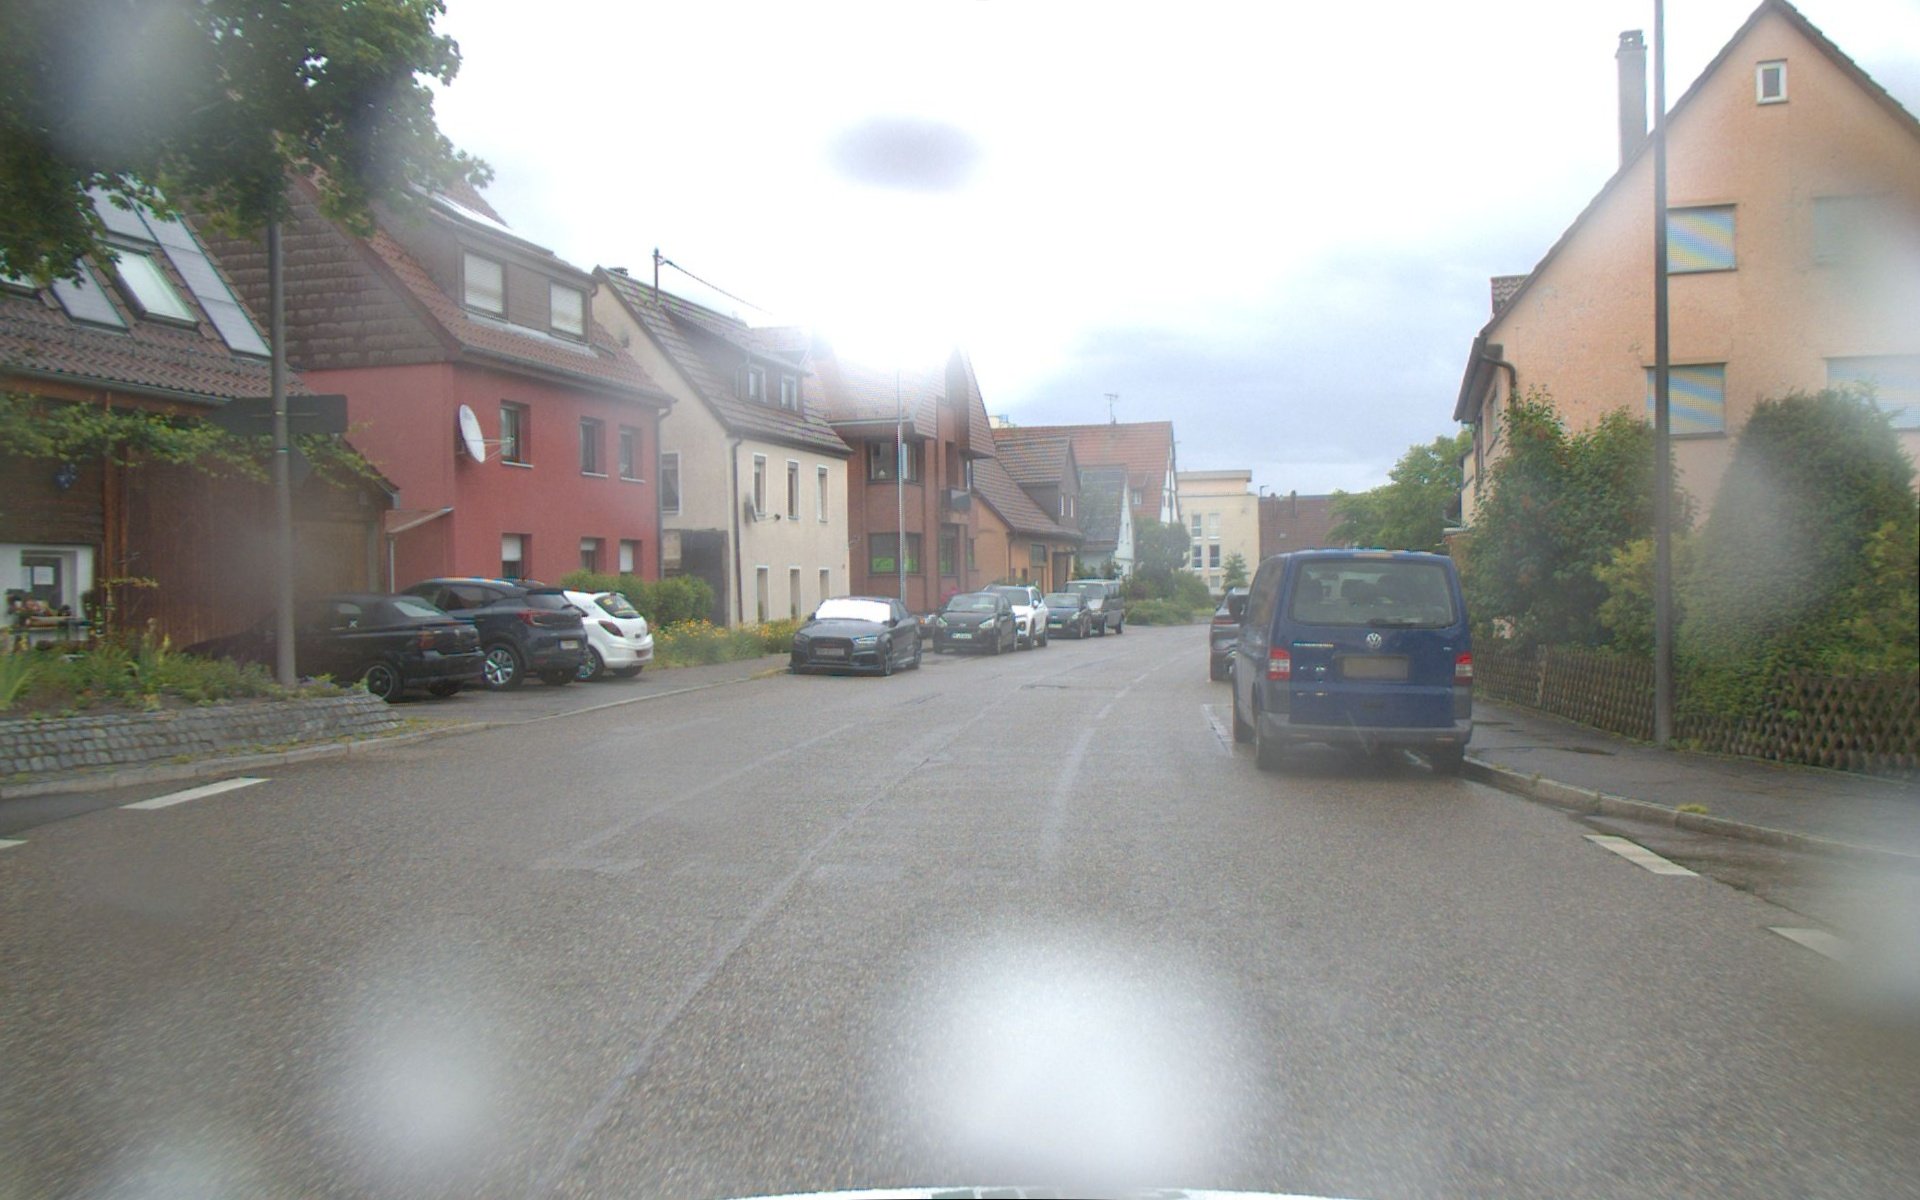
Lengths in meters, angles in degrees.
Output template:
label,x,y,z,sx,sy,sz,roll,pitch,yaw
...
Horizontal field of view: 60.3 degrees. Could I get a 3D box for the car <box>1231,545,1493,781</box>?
label,x,y,z,sx,sy,sz,roll,pitch,yaw
car,3.746,0.532,16.224,1.889,1.936,4.797,1,0,6

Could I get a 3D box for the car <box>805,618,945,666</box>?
label,x,y,z,sx,sy,sz,roll,pitch,yaw
car,-2.724,1.344,53.039,4.085,1.427,1.789,-1,-1,19

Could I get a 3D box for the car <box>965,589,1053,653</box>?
label,x,y,z,sx,sy,sz,roll,pitch,yaw
car,1.413,0.573,45.696,1.726,1.647,4.660,-1,-1,10

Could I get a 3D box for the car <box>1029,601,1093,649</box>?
label,x,y,z,sx,sy,sz,roll,pitch,yaw
car,3.396,0.820,55.080,1.544,1.523,3.570,-1,-1,13

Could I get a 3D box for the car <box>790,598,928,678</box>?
label,x,y,z,sx,sy,sz,roll,pitch,yaw
car,-1.829,0.674,31.234,1.592,1.379,4.114,1,0,11

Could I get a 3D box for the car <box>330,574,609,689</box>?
label,x,y,z,sx,sy,sz,roll,pitch,yaw
car,-7.273,0.443,24.628,3.500,1.532,1.856,2,0,16

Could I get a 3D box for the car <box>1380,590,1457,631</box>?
label,x,y,z,sx,sy,sz,roll,pitch,yaw
car,19.175,0.418,69.056,1.729,1.417,3.987,-8,-3,35

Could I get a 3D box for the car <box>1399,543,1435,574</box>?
label,x,y,z,sx,sy,sz,roll,pitch,yaw
car,23.012,-2.071,83.230,1.603,1.455,3.679,-1,-1,18

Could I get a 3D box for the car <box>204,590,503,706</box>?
label,x,y,z,sx,sy,sz,roll,pitch,yaw
car,-7.993,0.635,21.887,3.372,1.443,1.634,-1,-1,14

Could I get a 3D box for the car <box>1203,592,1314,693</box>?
label,x,y,z,sx,sy,sz,roll,pitch,yaw
car,5.792,0.760,31.680,1.868,1.747,4.559,1,0,13

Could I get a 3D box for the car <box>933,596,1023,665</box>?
label,x,y,z,sx,sy,sz,roll,pitch,yaw
car,0.489,0.744,41.226,1.571,1.646,3.279,-1,-1,13

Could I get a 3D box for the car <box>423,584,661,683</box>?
label,x,y,z,sx,sy,sz,roll,pitch,yaw
car,-6.779,0.526,26.914,3.387,1.505,1.592,1,0,14

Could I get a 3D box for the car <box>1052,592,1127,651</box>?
label,x,y,z,sx,sy,sz,roll,pitch,yaw
car,4.738,0.757,59.919,1.783,2.049,5.218,-1,-1,15
